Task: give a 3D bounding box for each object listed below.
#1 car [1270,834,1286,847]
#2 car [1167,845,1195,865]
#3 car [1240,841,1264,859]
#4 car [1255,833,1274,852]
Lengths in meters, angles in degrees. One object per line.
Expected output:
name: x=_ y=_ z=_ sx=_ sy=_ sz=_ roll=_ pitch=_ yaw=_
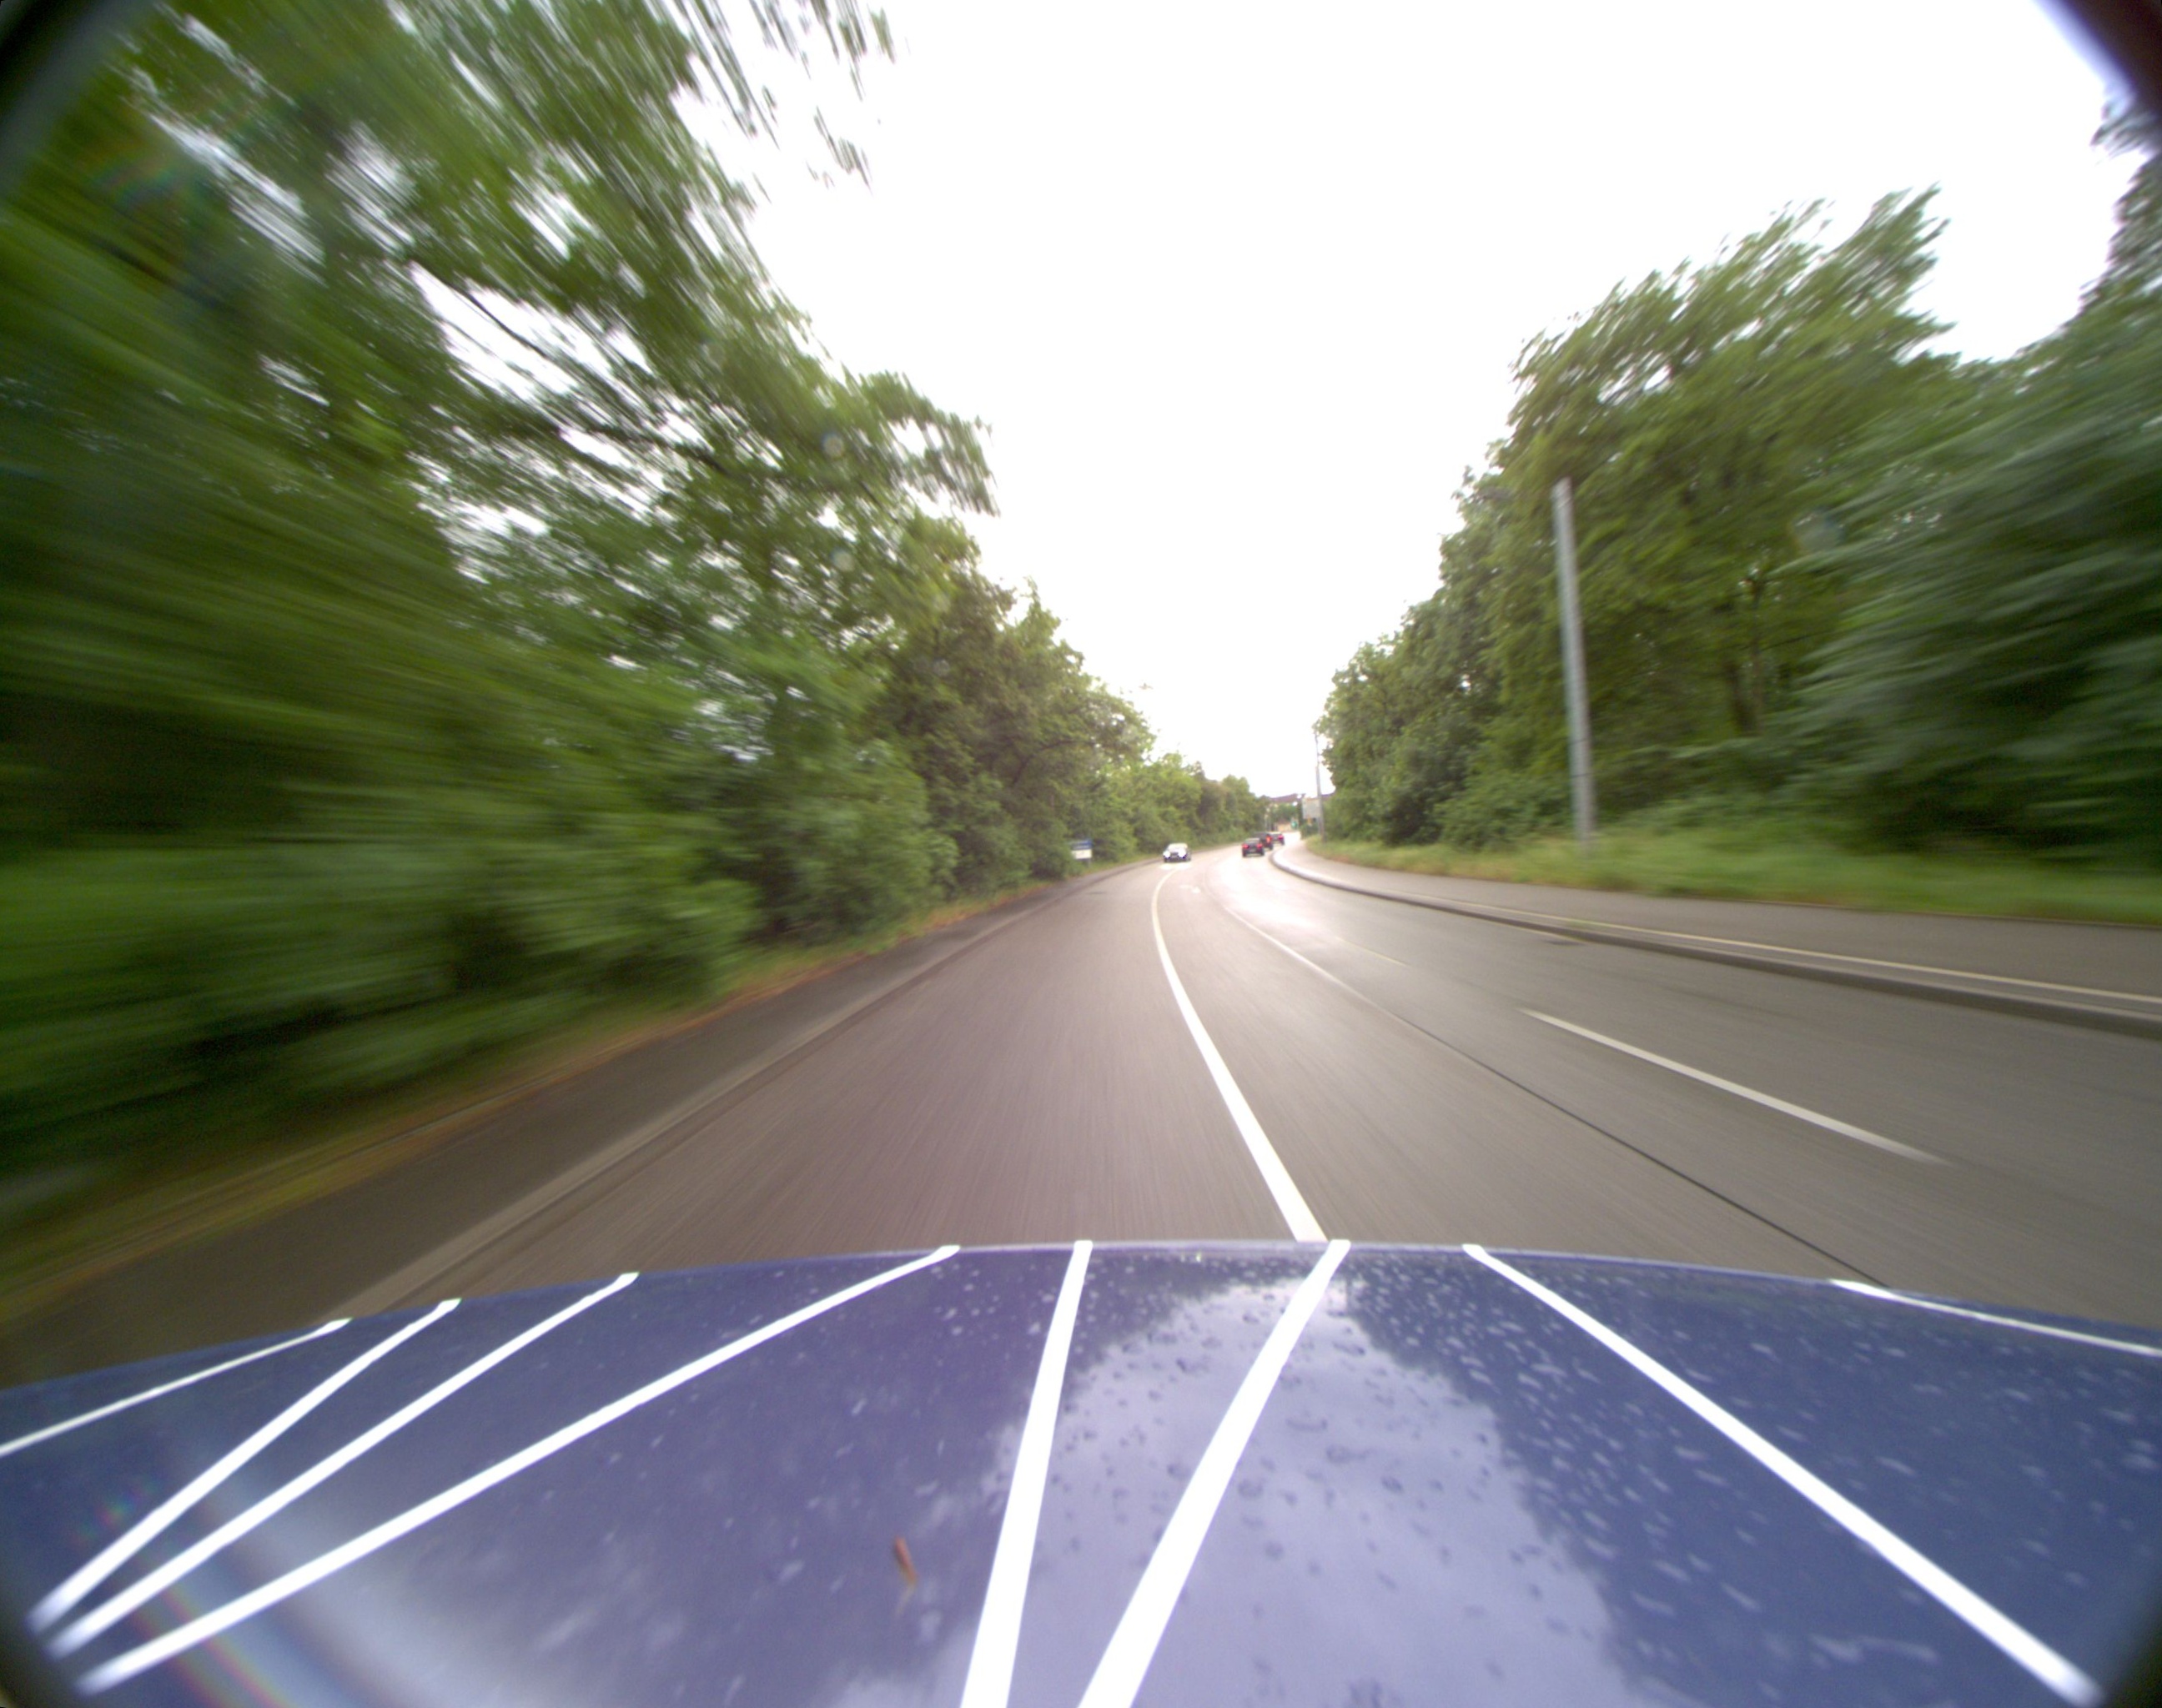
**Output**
car: x=25.319 y=-1.721 z=97.588 sx=1.830 sy=1.511 sz=4.004 roll=1 pitch=0 yaw=13
car: x=8.015 y=0.064 z=60.512 sx=1.830 sy=1.511 sz=4.004 roll=1 pitch=0 yaw=13
car: x=14.546 y=-0.333 z=64.636 sx=1.830 sy=1.432 sz=4.004 roll=-3 pitch=0 yaw=13
car: x=19.093 y=-1.168 z=79.252 sx=1.830 sy=1.832 sz=4.715 roll=1 pitch=0 yaw=13
